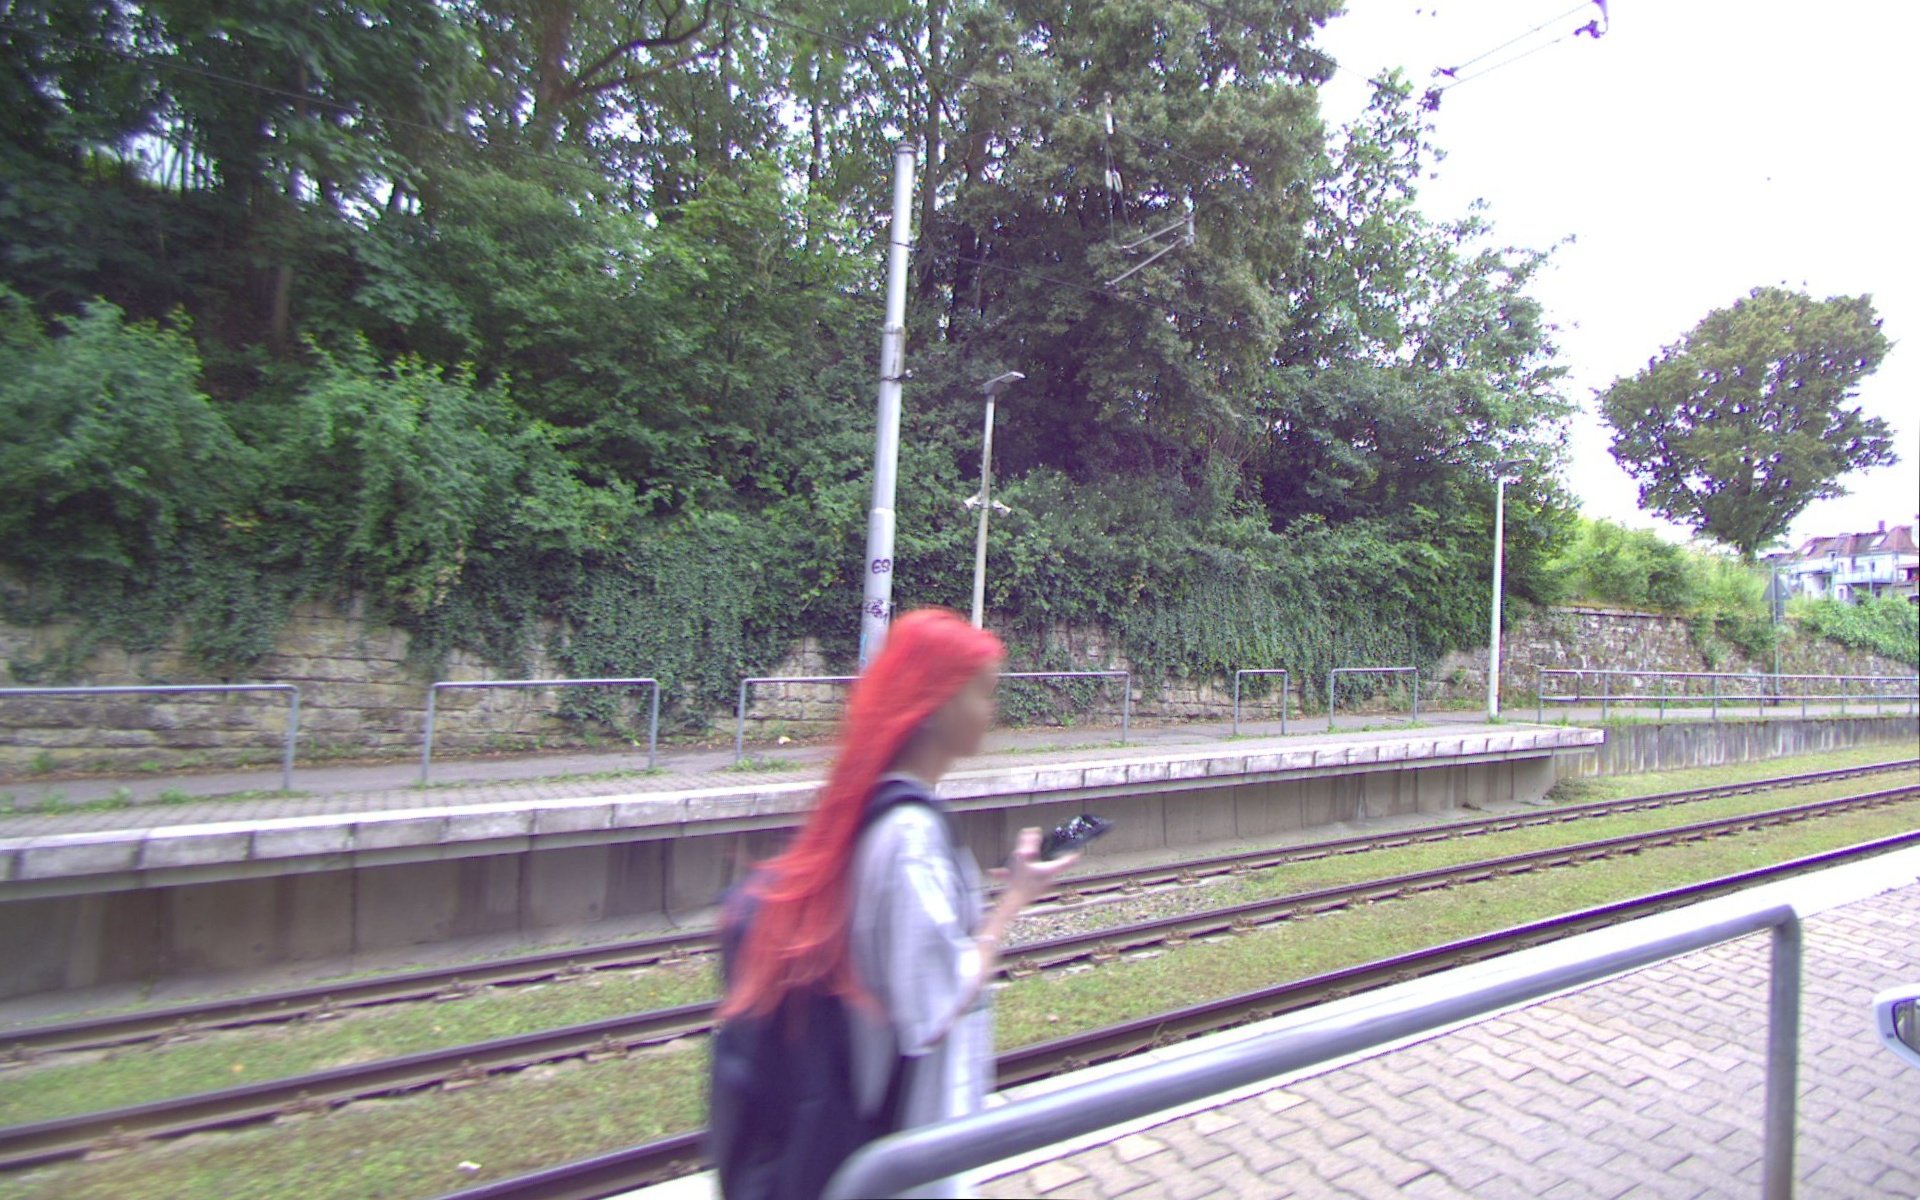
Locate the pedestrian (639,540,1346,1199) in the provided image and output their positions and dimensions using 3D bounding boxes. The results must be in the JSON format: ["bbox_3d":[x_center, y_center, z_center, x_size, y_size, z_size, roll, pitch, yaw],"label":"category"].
[{"bbox_3d":[0.020,0.716,1.358,0.731,1.522,0.621,1,-1,-33],"label":"pedestrian"}]
